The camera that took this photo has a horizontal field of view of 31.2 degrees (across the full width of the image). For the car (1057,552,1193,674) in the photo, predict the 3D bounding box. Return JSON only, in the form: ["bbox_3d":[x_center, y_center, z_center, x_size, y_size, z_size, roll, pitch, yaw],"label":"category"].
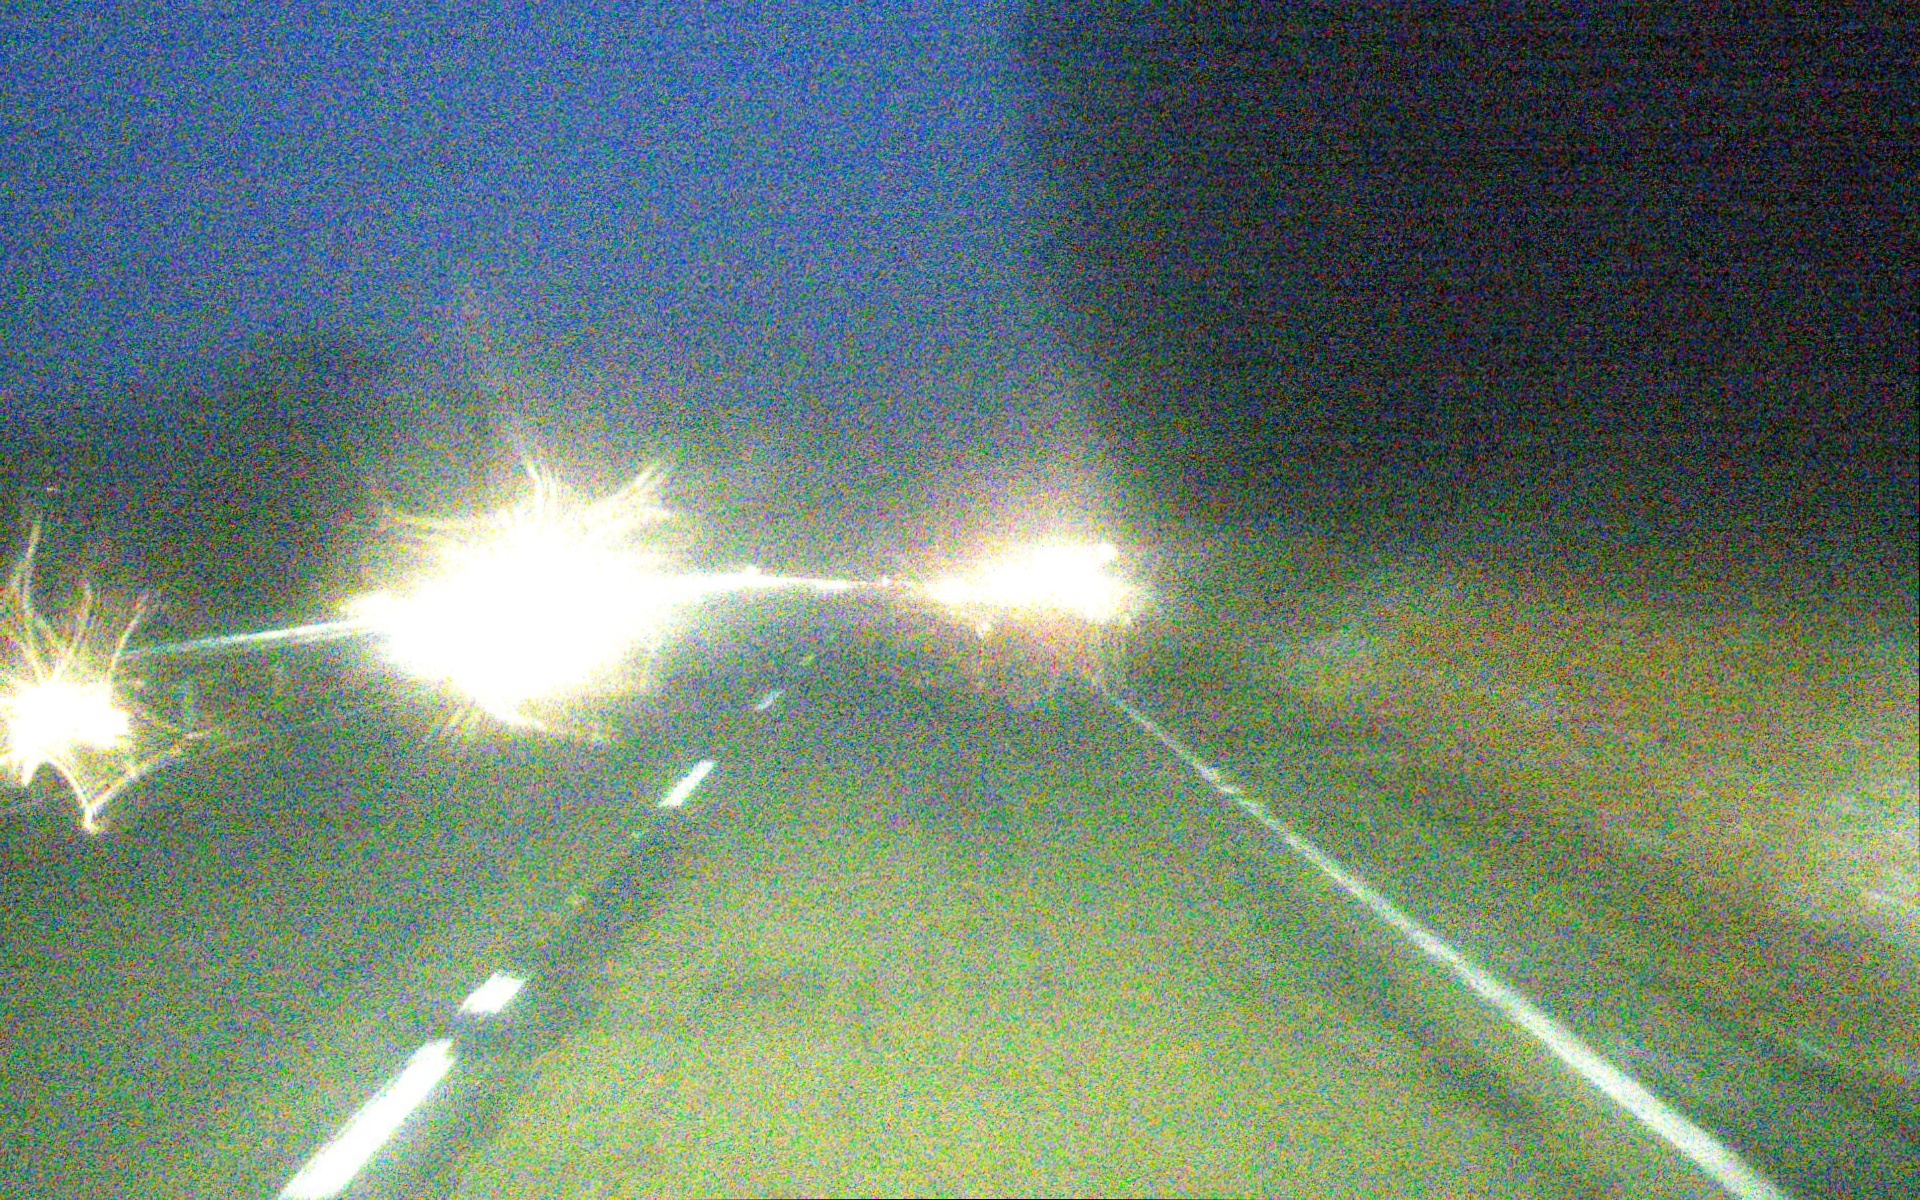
[{"bbox_3d":[2.892,0.262,61.067,2.197,2.007,4.206,1,-2,0],"label":"car"}]
